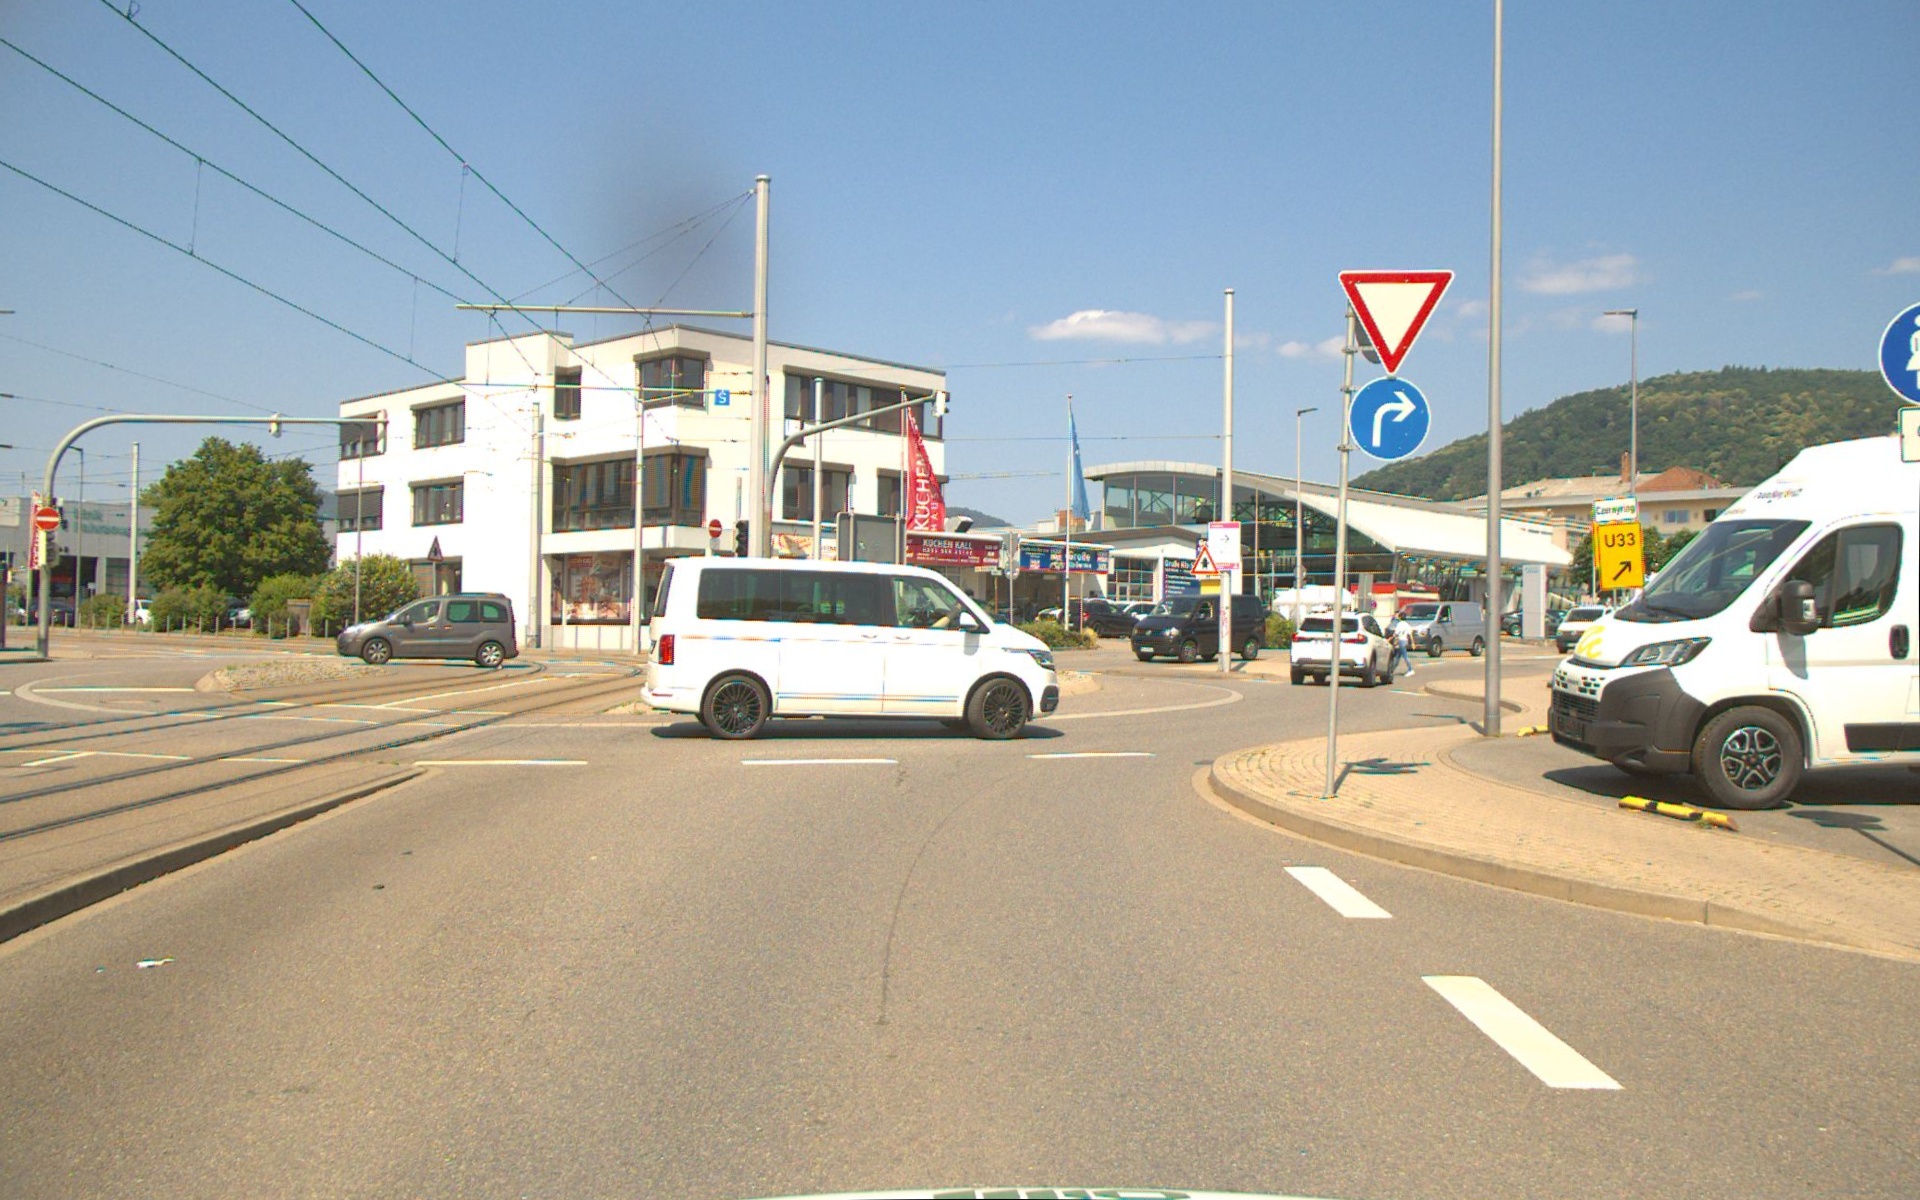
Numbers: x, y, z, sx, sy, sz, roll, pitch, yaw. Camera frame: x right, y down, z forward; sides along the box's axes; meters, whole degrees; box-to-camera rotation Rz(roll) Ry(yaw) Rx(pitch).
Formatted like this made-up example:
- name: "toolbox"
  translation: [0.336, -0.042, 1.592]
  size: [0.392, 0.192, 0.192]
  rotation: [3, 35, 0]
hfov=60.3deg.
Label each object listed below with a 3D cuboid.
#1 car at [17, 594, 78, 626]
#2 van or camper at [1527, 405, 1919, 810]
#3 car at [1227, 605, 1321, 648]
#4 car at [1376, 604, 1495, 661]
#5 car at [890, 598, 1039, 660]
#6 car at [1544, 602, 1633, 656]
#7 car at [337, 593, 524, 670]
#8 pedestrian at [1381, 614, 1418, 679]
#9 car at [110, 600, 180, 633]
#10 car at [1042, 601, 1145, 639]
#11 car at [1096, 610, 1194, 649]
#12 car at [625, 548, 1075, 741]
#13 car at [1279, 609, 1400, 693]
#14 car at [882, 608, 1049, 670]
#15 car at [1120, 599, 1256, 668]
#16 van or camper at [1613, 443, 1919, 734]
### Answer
- name: "car"
  translation: [-54.064, 0.597, 97.991]
  size: [3.927, 1.814, 1.989]
  rotation: [-2, -1, 41]
- name: "van or camper"
  translation: [7.497, 0.048, 12.554]
  size: [5.691, 2.822, 2.091]
  rotation: [0, 0, 1]
- name: "car"
  translation: [12.529, 1.024, 65.788]
  size: [1.964, 1.646, 3.977]
  rotation: [0, -1, 41]
- name: "car"
  translation: [17.124, 1.171, 59.387]
  size: [4.788, 1.969, 1.903]
  rotation: [1, -1, -43]
- name: "car"
  translation: [0.209, 0.969, 55.900]
  size: [5.241, 2.000, 1.933]
  rotation: [1, -1, -45]
- name: "car"
  translation: [26.626, 1.198, 69.976]
  size: [1.991, 2.151, 4.907]
  rotation: [1, 0, 40]
- name: "car"
  translation: [-13.253, 0.789, 41.439]
  size: [4.330, 1.850, 1.978]
  rotation: [1, -1, -20]
- name: "pedestrian"
  translation: [11.507, 1.203, 43.356]
  size: [0.861, 1.665, 0.954]
  rotation: [1, -1, 11]
- name: "car"
  translation: [-43.374, 0.892, 87.992]
  size: [3.926, 1.691, 1.989]
  rotation: [-2, -1, 41]
- name: "car"
  translation: [5.373, 0.818, 66.375]
  size: [1.996, 1.452, 4.293]
  rotation: [0, -1, 41]
- name: "car"
  translation: [8.187, 1.314, 72.719]
  size: [1.852, 1.616, 4.900]
  rotation: [-2, -3, 41]
- name: "car"
  translation: [-1.334, 0.518, 19.149]
  size: [4.915, 2.049, 2.162]
  rotation: [1, -1, -13]
- name: "car"
  translation: [8.664, 1.112, 37.490]
  size: [1.953, 1.763, 4.563]
  rotation: [0, -1, 22]
- name: "car"
  translation: [0.145, 1.057, 45.261]
  size: [4.170, 1.583, 1.956]
  rotation: [2, -1, -23]
- name: "car"
  translation: [6.883, 0.968, 49.624]
  size: [2.057, 1.943, 4.620]
  rotation: [1, 0, 37]
- name: "van or camper"
  translation: [11.223, -0.146, 18.468]
  size: [6.919, 2.998, 2.334]
  rotation: [-1, -1, -2]
